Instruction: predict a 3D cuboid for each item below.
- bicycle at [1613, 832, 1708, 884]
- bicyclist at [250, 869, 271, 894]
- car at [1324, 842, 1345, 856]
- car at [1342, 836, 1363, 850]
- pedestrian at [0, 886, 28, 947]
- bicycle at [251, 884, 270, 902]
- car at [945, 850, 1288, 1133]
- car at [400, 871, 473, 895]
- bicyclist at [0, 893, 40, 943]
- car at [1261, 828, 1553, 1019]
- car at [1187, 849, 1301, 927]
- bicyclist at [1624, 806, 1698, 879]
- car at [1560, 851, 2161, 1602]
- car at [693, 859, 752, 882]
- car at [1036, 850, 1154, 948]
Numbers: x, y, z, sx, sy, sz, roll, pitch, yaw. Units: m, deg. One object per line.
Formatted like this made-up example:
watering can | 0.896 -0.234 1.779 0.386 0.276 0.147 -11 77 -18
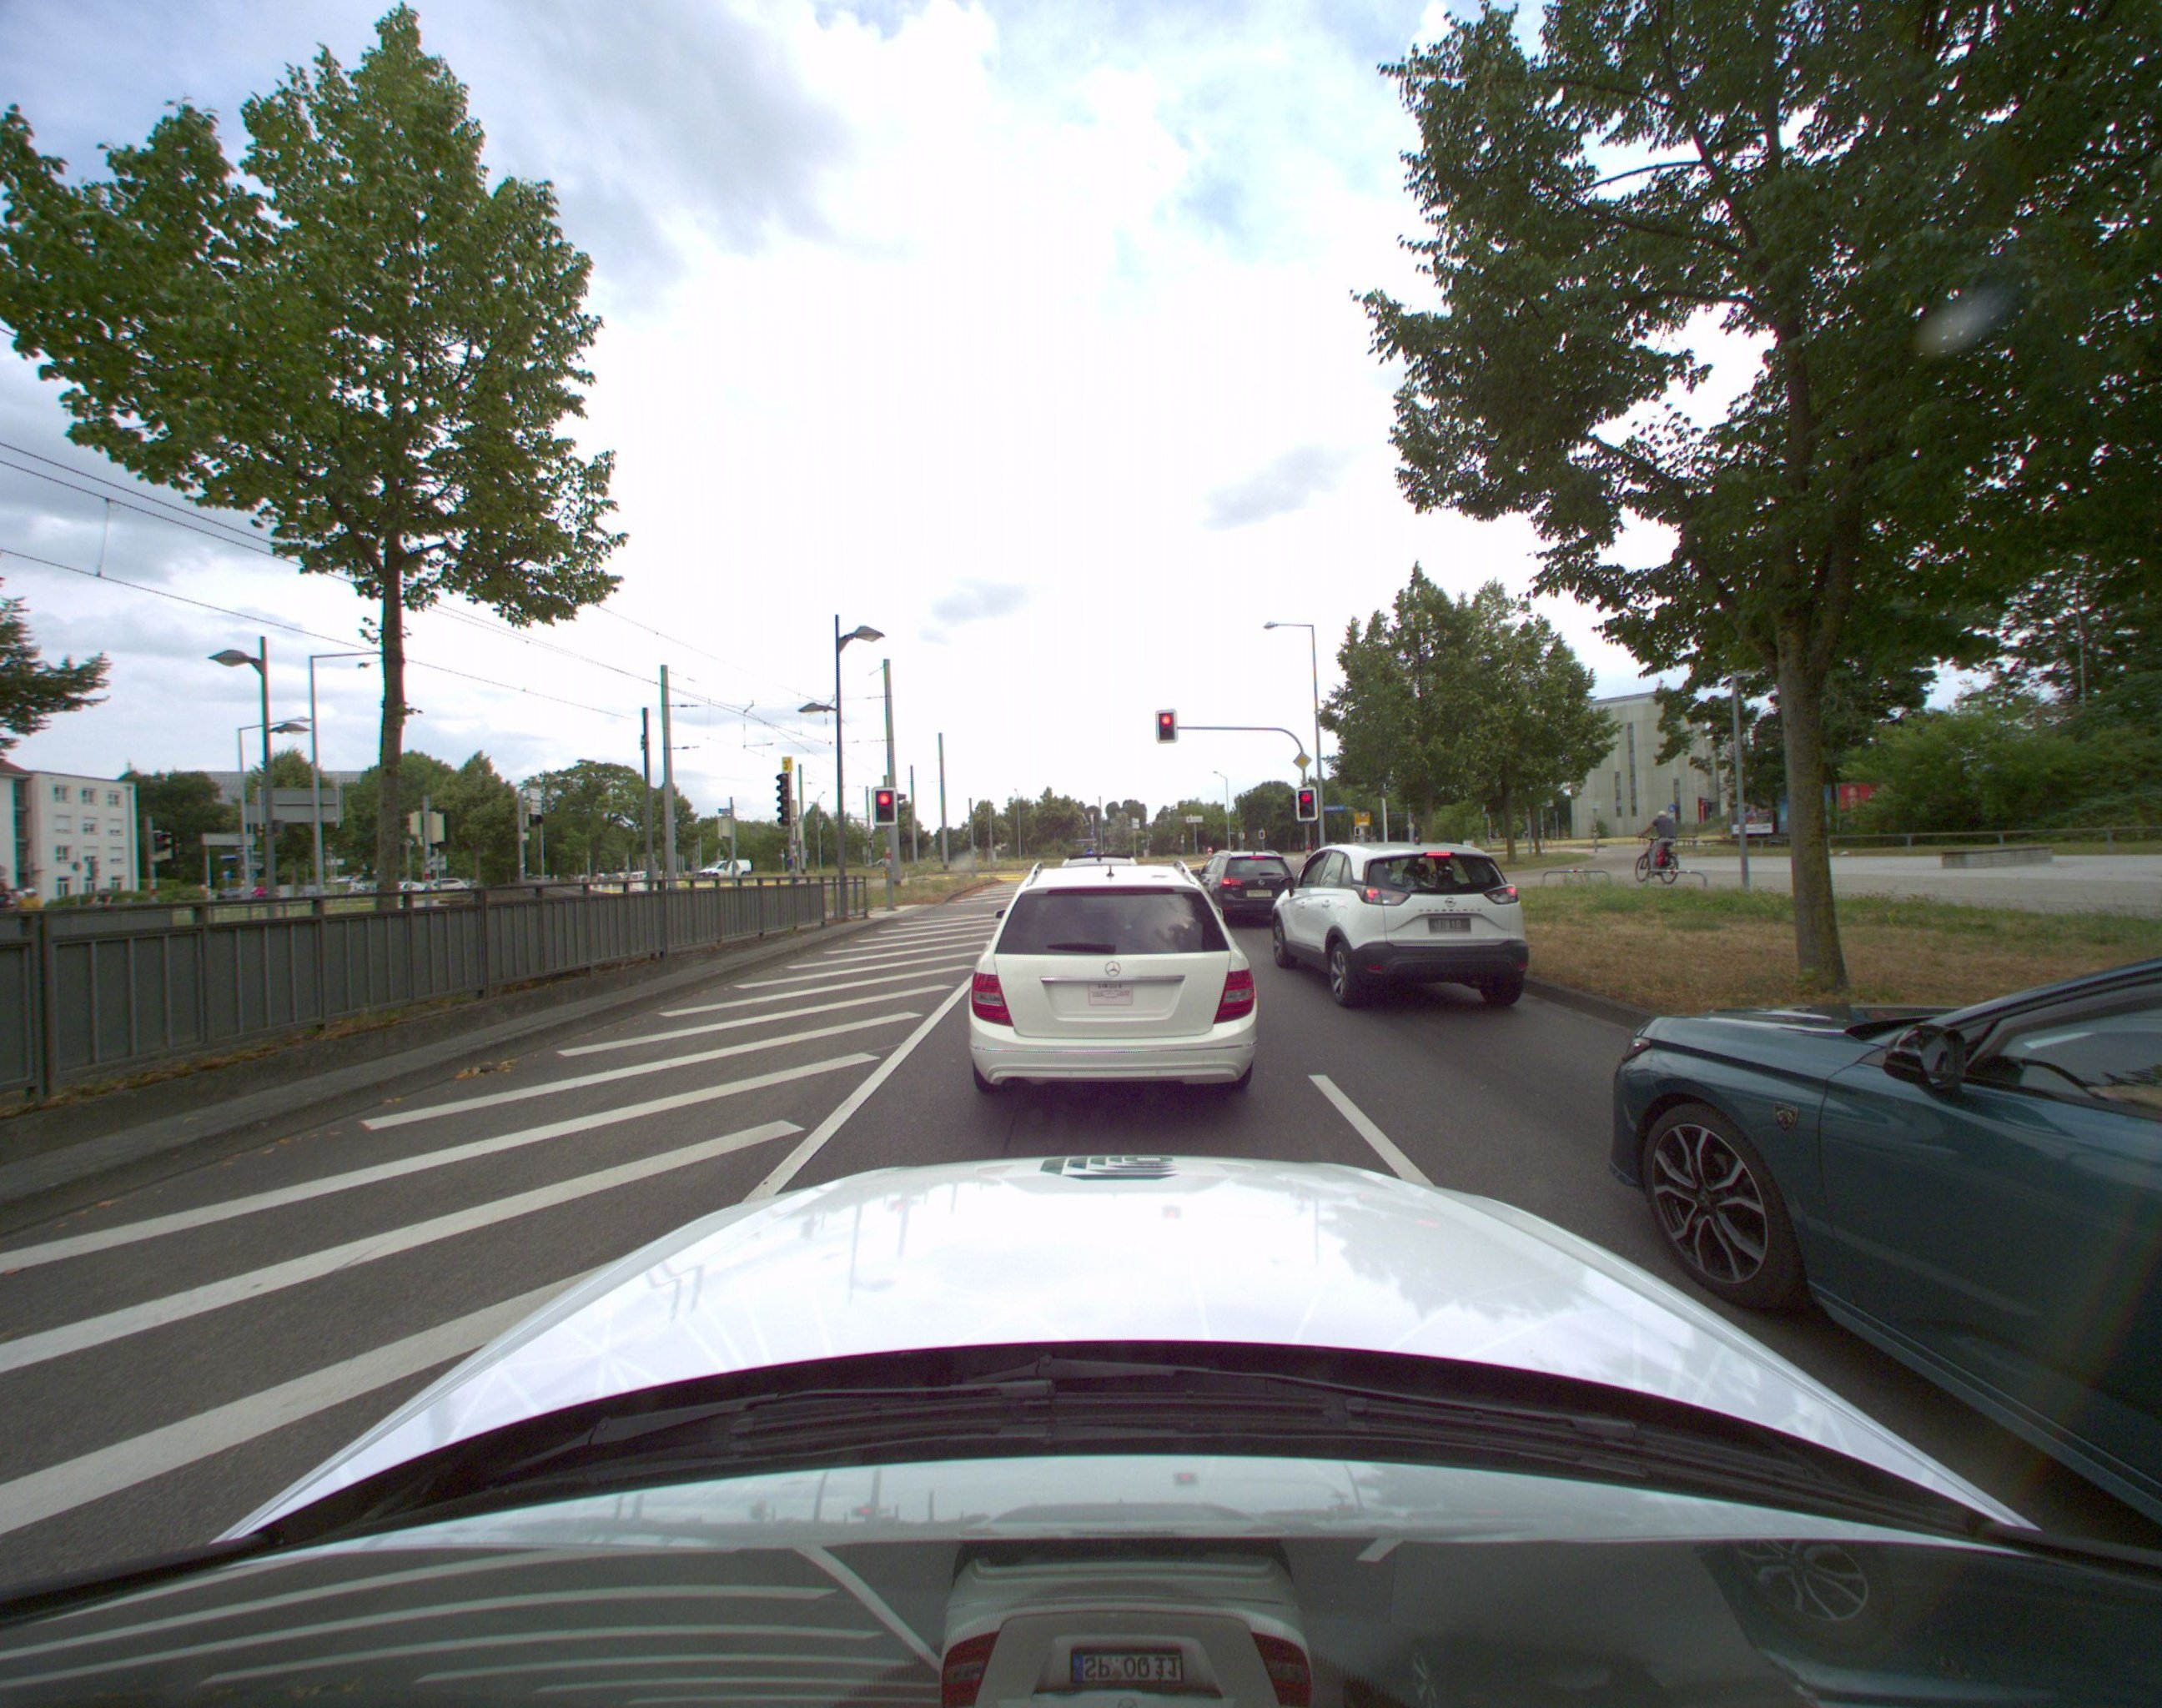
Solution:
bicycle | 14.763 0.092 20.838 0.898 1.235 2.270 -2 0 4
bicyclist | -53.753 1.804 53.358 0.896 1.562 0.741 -2 0 -42
car | 34.142 -0.677 109.516 1.975 1.791 4.024 0 0 29
car | 33.689 -1.356 101.076 1.766 1.636 4.428 -2 0 27
pedestrian | -33.106 1.919 25.088 0.652 1.850 0.486 -2 0 -37
bicycle | -53.836 2.532 53.445 0.814 1.129 2.674 -2 0 -44
car | 0.189 0.705 6.197 1.768 1.448 3.910 -1 0 0
car | -50.423 2.215 63.746 1.974 1.641 4.026 -2 0 33
bicyclist | -41.012 2.468 31.403 0.835 1.834 0.775 -2 0 -36
car | 3.312 0.608 9.156 1.780 1.624 3.912 -2 0 2
car | 3.301 0.630 17.196 1.619 1.448 3.910 -1 0 0
bicyclist | 14.731 -0.286 20.720 0.992 1.737 1.131 -5 0 5
car | 2.998 0.733 1.366 1.782 1.432 4.308 -1 0 -1
car | -35.055 1.567 79.701 1.974 2.013 5.032 -2 0 31
car | 0.211 0.669 14.275 1.768 1.448 3.910 -1 0 0
